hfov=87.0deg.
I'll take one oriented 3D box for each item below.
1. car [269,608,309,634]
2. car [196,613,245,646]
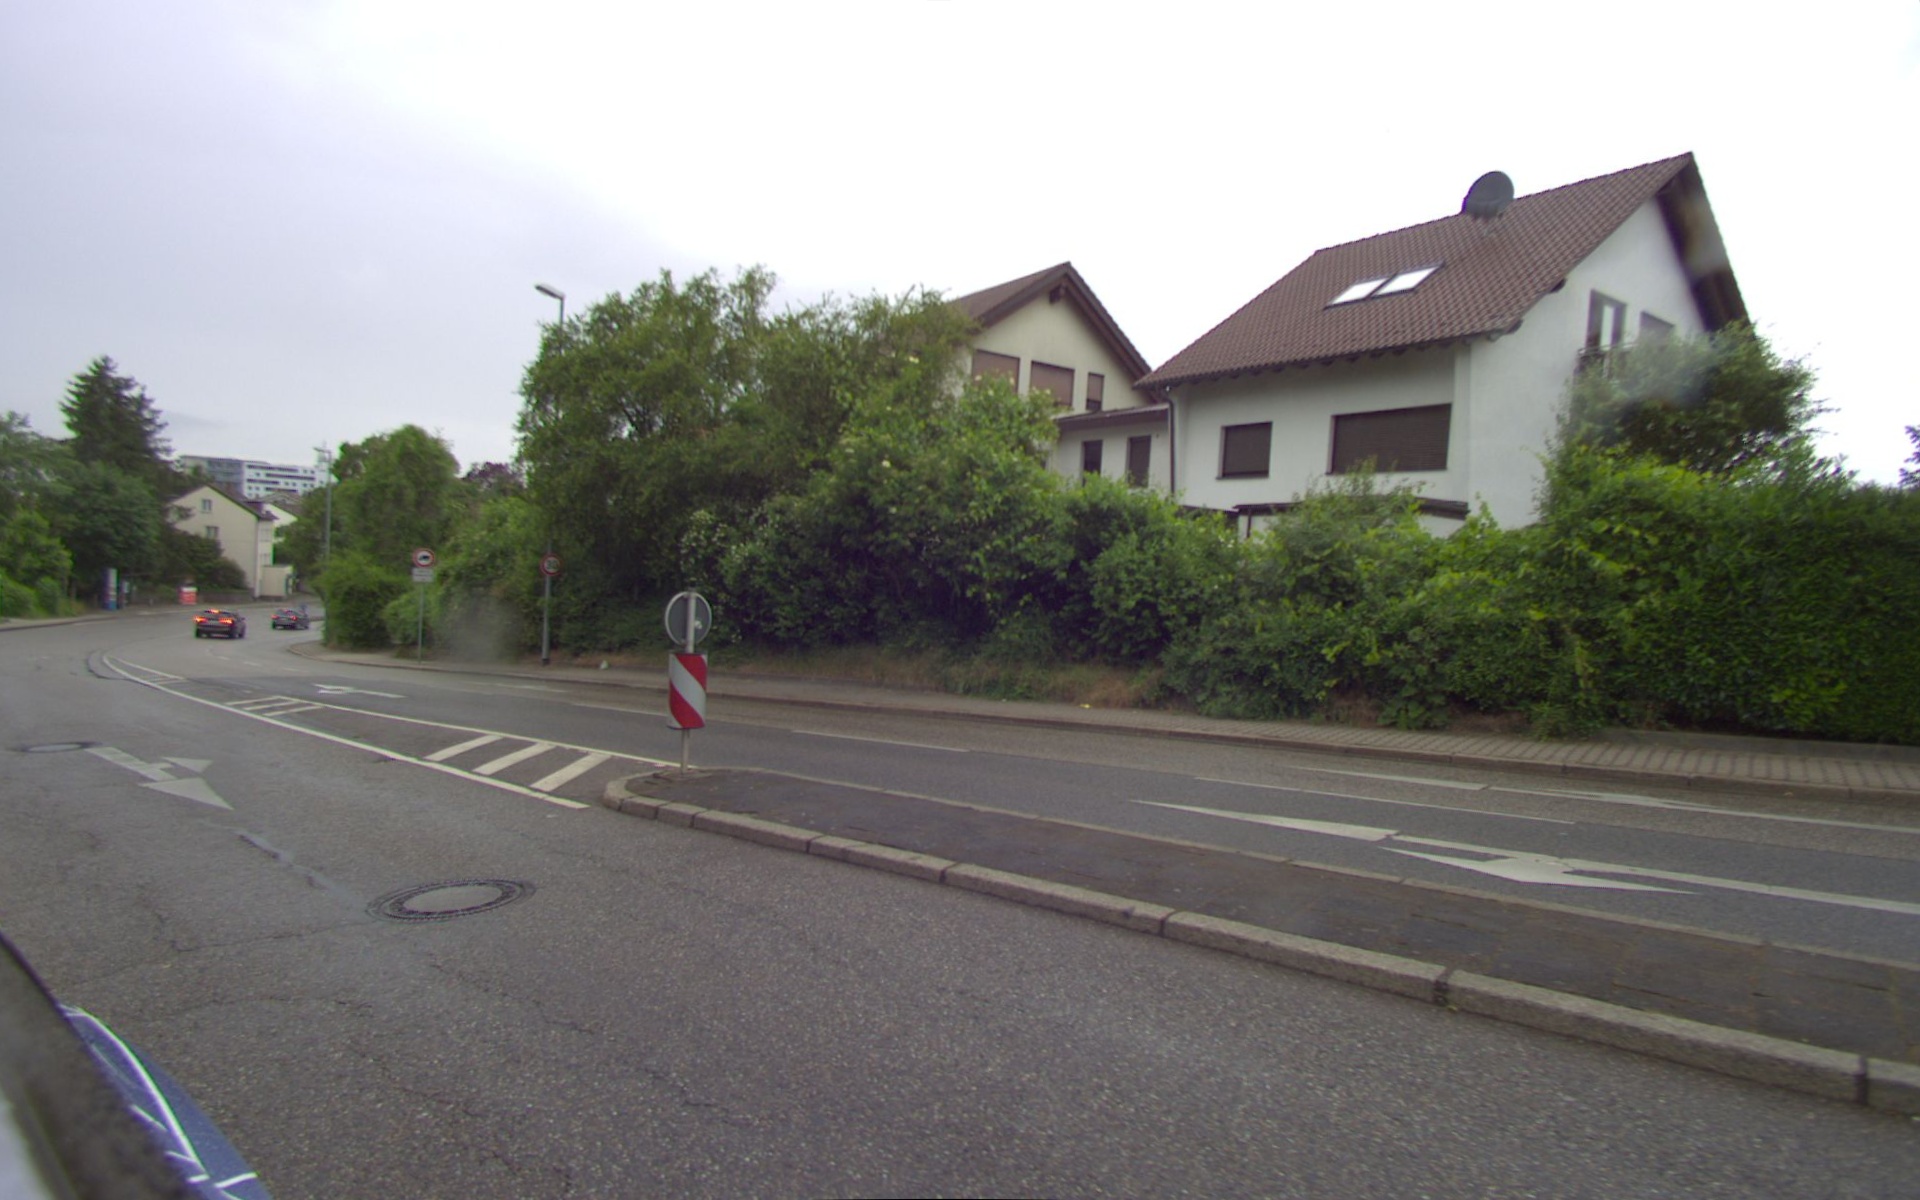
[{"bbox_3d":[-52.979,1.682,79.952,2.096,2.029,4.099,1,-2,-26],"label":"car"},{"bbox_3d":[-45.382,1.820,62.151,1.928,1.860,4.012,3,-3,-30],"label":"car"}]
